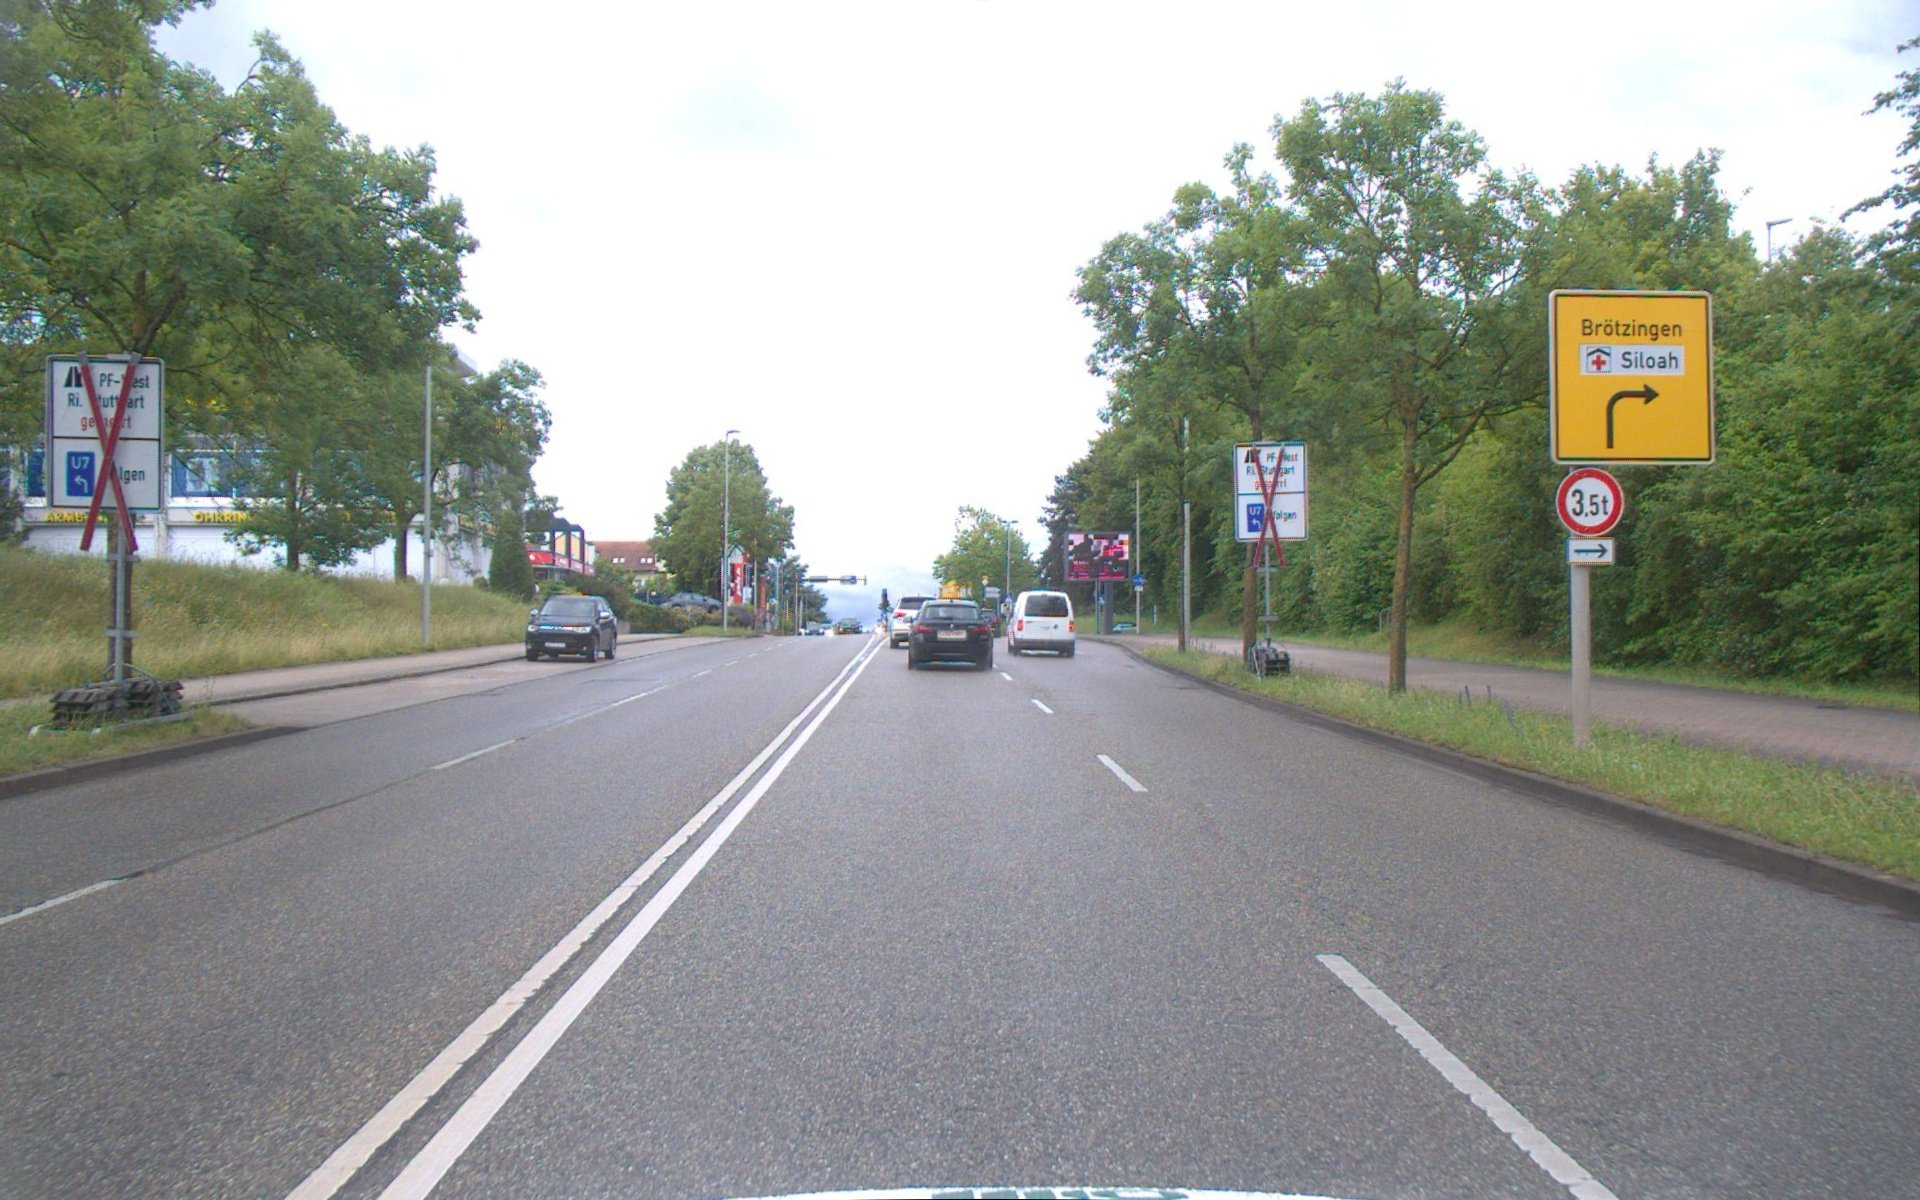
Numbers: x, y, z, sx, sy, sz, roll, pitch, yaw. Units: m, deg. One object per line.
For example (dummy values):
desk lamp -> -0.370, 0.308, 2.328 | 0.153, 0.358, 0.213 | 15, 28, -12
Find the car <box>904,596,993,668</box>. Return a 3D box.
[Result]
car -> -0.209, 0.662, 36.233 | 1.817, 1.444, 3.957 | 1, 0, 1

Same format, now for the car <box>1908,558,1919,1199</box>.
car -> 3.240, 0.710, 2.096 | 1.679, 1.624, 4.130 | 1, 0, -1

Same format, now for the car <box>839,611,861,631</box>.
car -> -9.362, 1.751, 140.857 | 1.760, 1.611, 4.196 | -1, 0, -3

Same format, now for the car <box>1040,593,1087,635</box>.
car -> 4.427, 0.573, 71.099 | 1.777, 1.738, 3.946 | 0, 0, 0

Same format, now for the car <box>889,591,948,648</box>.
car -> -1.288, 0.604, 52.651 | 1.692, 1.741, 3.383 | 1, 0, 1

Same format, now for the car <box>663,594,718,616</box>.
car -> -18.720, 0.348, 114.906 | 3.755, 1.508, 1.738 | 0, -1, -9

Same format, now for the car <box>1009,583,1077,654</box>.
car -> 2.336, 0.513, 47.388 | 1.706, 1.902, 3.946 | 1, 0, 0

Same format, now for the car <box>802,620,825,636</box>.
car -> -13.607, 2.561, 153.839 | 1.757, 1.426, 4.299 | -1, 0, -1

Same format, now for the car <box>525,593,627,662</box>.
car -> -10.074, 0.684, 43.672 | 1.691, 1.697, 4.486 | 1, 0, -1

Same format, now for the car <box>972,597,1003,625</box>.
car -> 1.437, 0.571, 87.075 | 1.567, 1.396, 3.680 | -1, 0, 0
